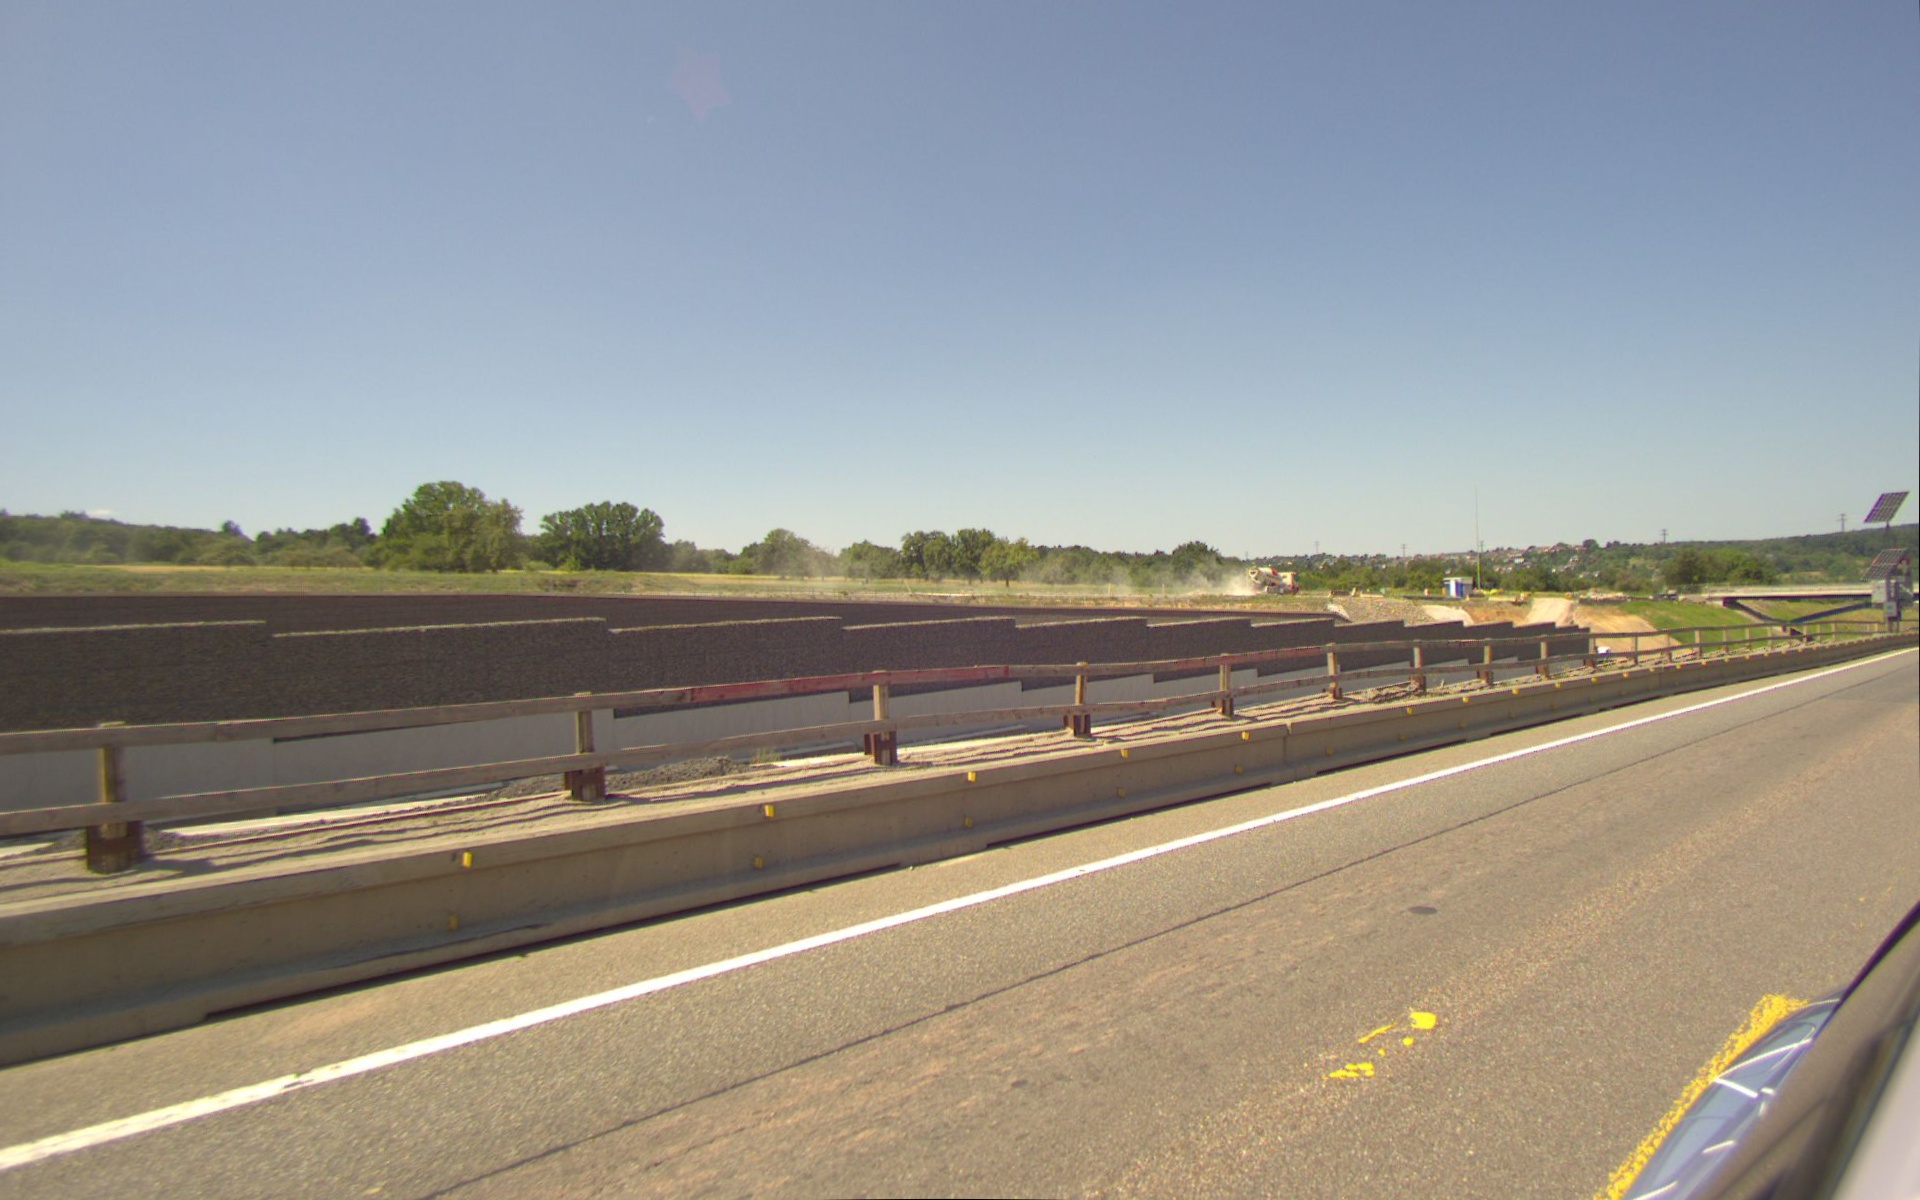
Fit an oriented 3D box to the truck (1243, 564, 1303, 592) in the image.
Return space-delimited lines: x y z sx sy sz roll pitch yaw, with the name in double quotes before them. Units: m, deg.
"truck" 41.305 -2.870 133.348 8.596 3.510 3.155 0 -1 -38
